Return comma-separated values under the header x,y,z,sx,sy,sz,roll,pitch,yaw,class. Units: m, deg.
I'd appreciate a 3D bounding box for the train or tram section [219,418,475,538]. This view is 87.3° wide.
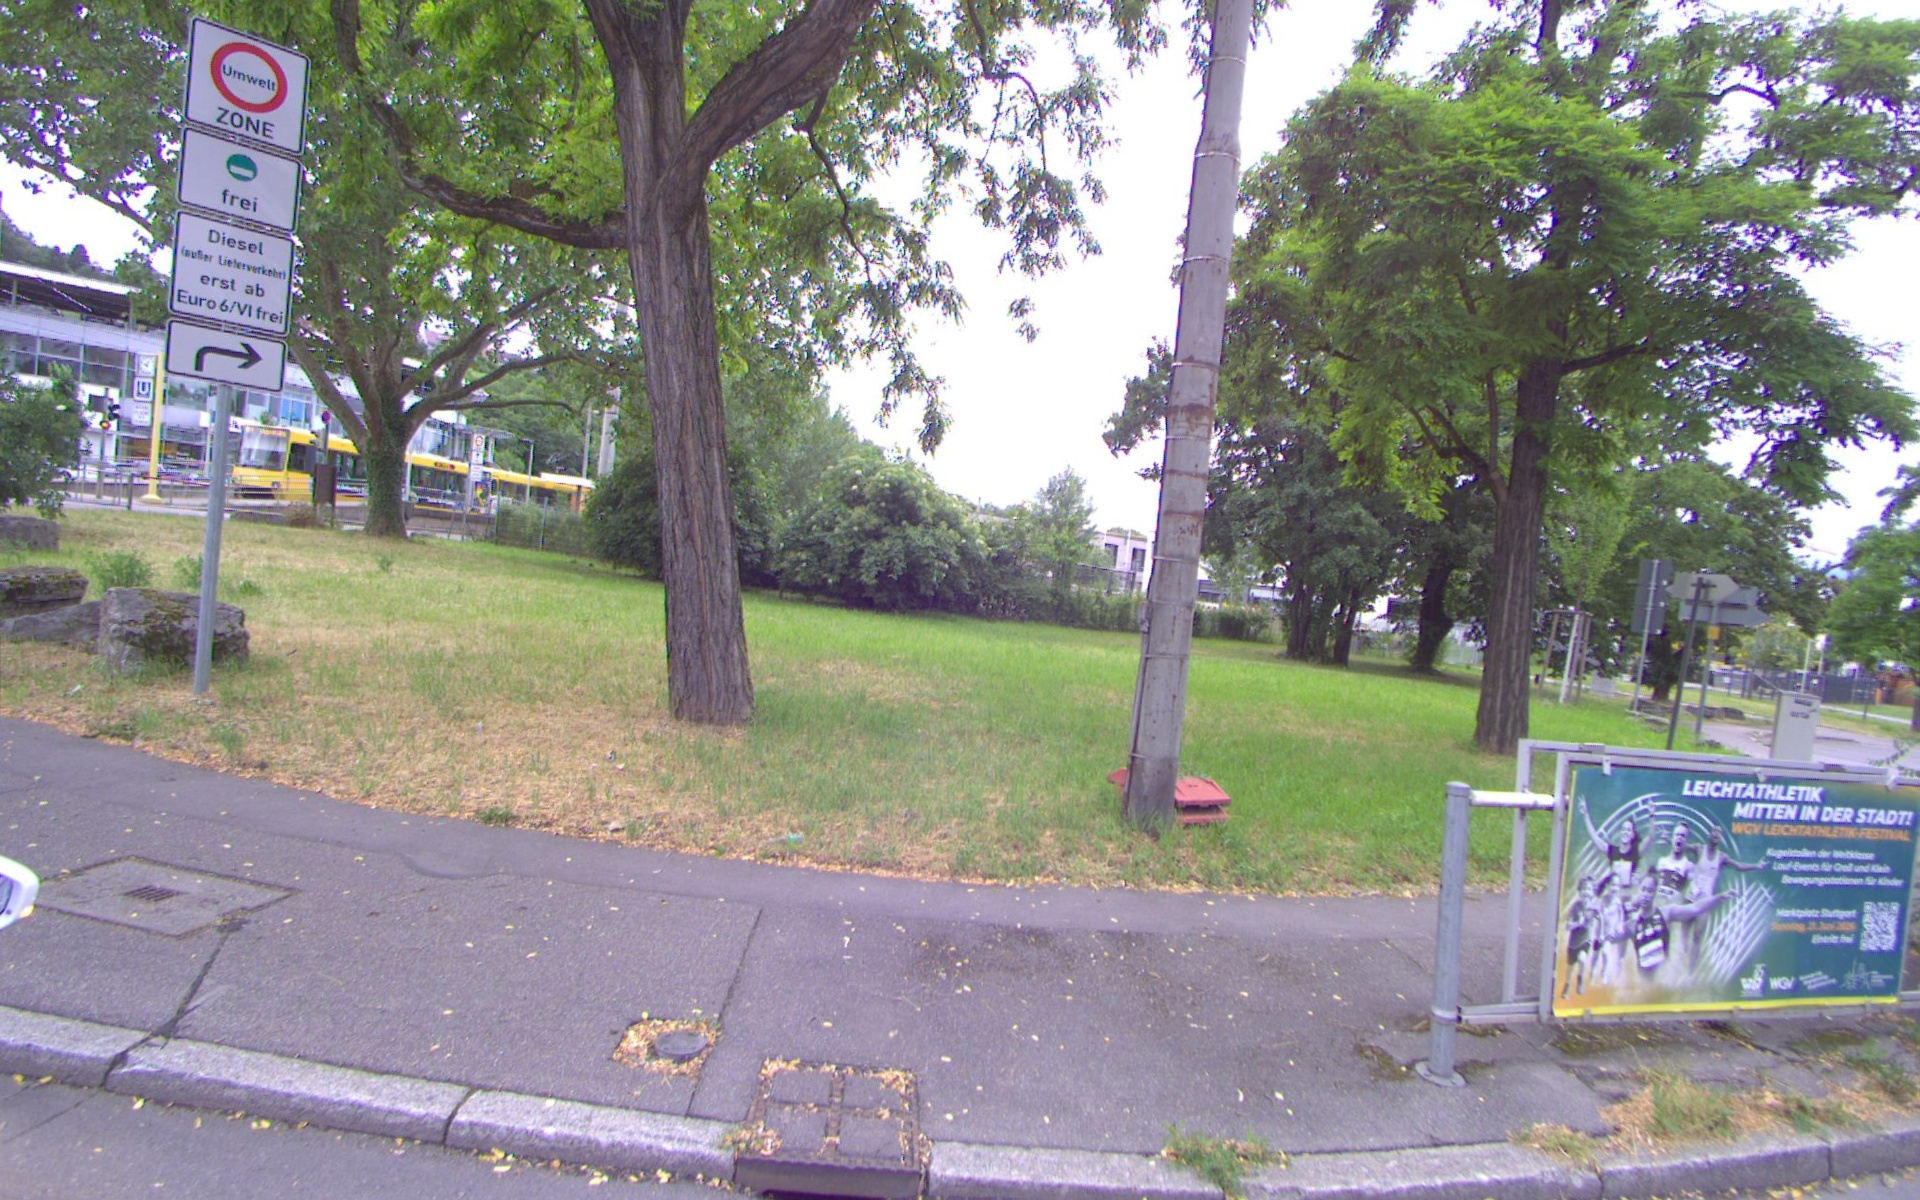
x,y,z,sx,sy,sz,roll,pitch,yaw,class
-27.352,-5.230,46.061,2.697,4.019,11.904,7,2,9,train or tram section

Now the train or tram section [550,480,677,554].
x,y,z,sx,sy,sz,roll,pitch,yaw,class
-23.592,-5.523,69.576,2.697,4.019,11.904,7,2,9,train or tram section

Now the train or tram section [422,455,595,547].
x,y,z,sx,sy,sz,roll,pitch,yaw,class
-25.474,-5.437,57.840,2.697,4.019,11.904,7,2,9,train or tram section

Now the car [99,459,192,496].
x,y,z,sx,sy,sz,roll,pitch,yaw,class
-47.964,-7.197,59.300,3.924,1.575,1.926,7,3,4,car

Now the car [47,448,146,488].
x,y,z,sx,sy,sz,roll,pitch,yaw,class
-48.542,-7.424,56.598,3.924,1.575,1.926,7,3,4,car
